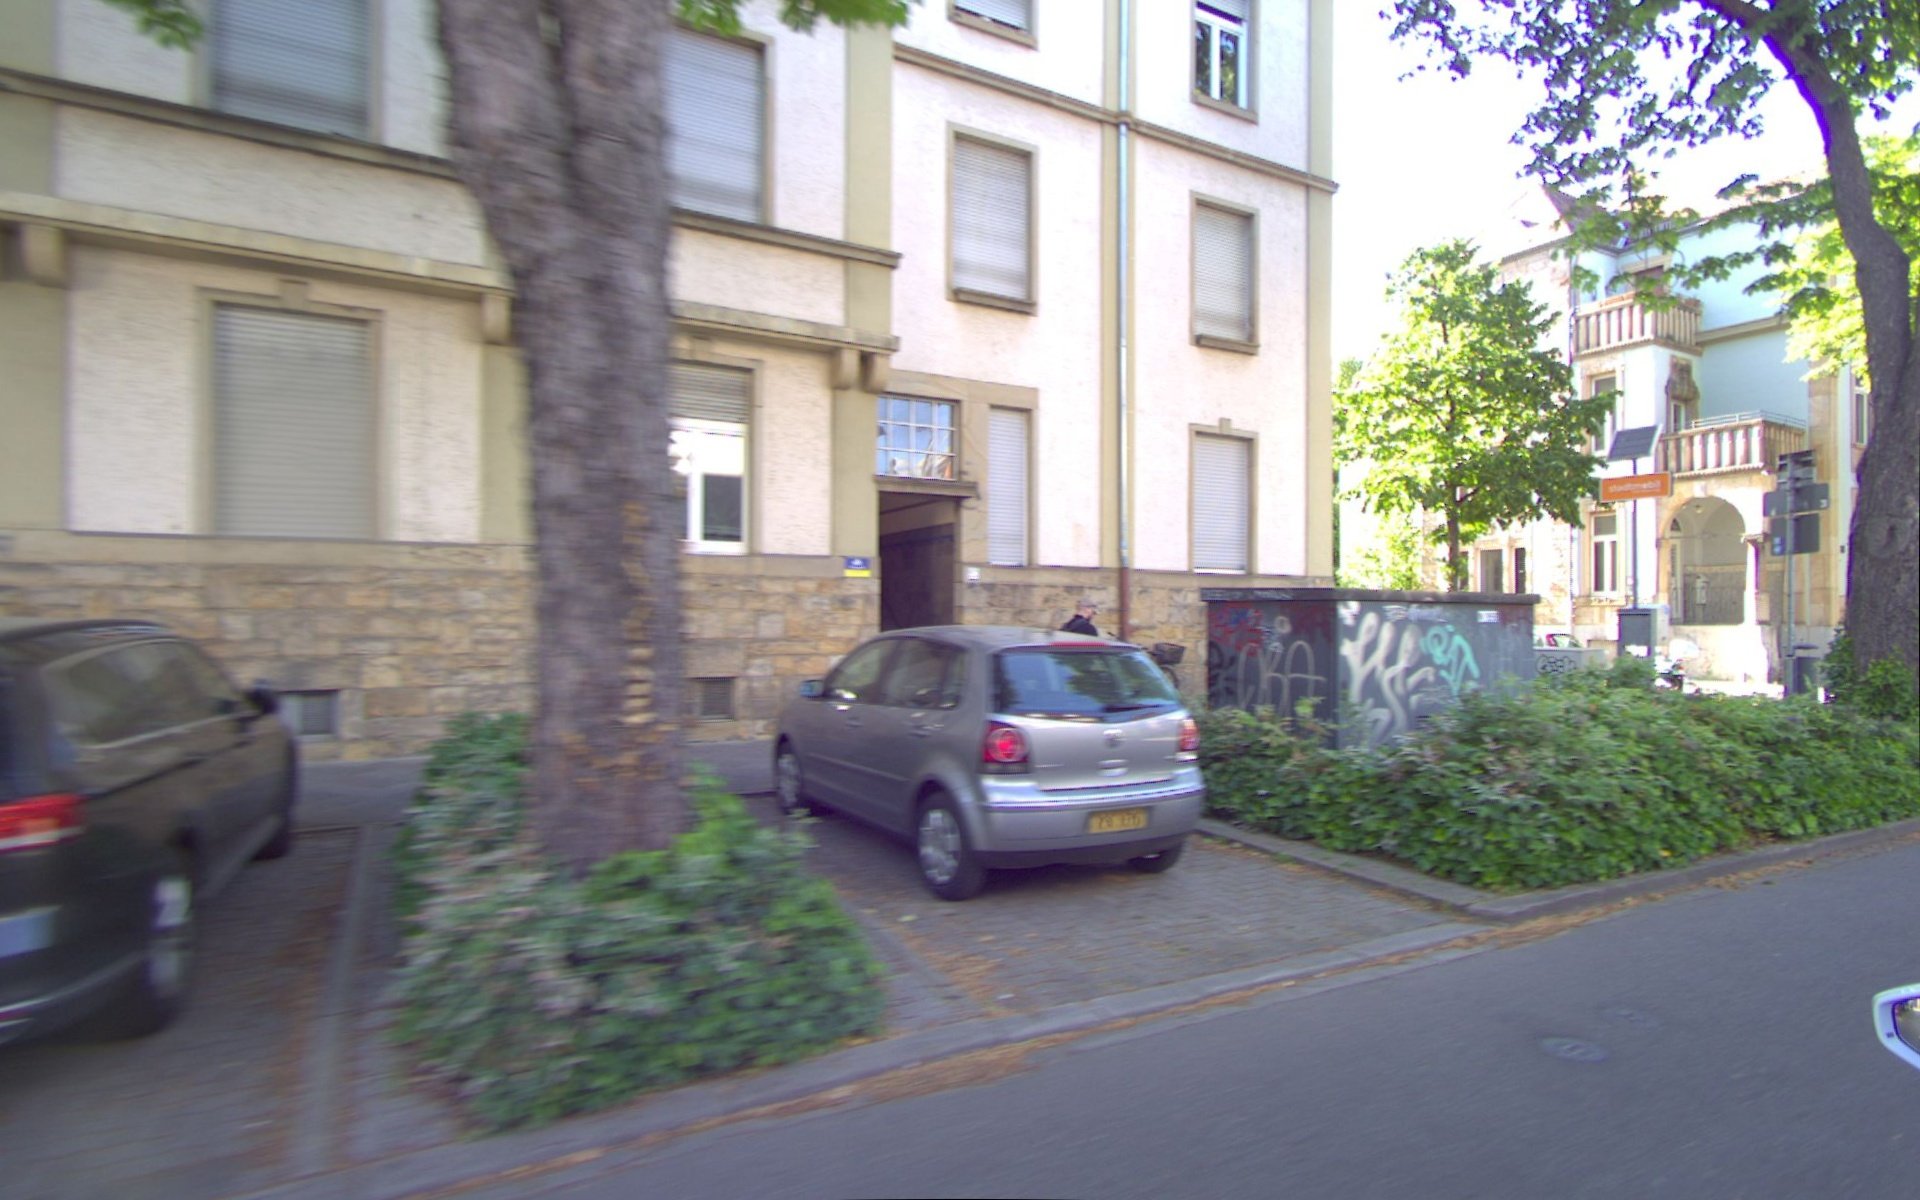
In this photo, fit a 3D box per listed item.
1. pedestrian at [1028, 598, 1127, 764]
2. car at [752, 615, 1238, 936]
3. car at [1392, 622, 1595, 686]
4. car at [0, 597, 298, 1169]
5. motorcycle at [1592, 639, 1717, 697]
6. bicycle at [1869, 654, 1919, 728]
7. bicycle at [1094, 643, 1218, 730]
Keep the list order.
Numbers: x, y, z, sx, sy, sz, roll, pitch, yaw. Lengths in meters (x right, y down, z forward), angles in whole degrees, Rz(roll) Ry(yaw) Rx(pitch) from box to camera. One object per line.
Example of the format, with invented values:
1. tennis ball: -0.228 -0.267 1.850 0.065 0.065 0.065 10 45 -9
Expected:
1. pedestrian: 1.246 0.826 10.644 0.822 1.681 0.629 1 -1 -29
2. car: -0.052 0.877 6.781 1.622 1.507 3.658 1 -1 -29
3. car: 13.584 1.324 25.854 1.780 1.484 4.389 1 -1 -28
4. car: -4.158 0.752 4.336 1.870 1.523 4.510 1 -1 -30
5. motorcycle: 15.585 1.511 22.617 0.885 1.192 2.209 3 -2 -20
6. bicycle: 14.804 1.354 14.758 0.749 1.080 1.985 0 -2 -25
7. bicycle: 2.691 1.151 13.716 1.679 1.112 0.625 1 -1 -31
